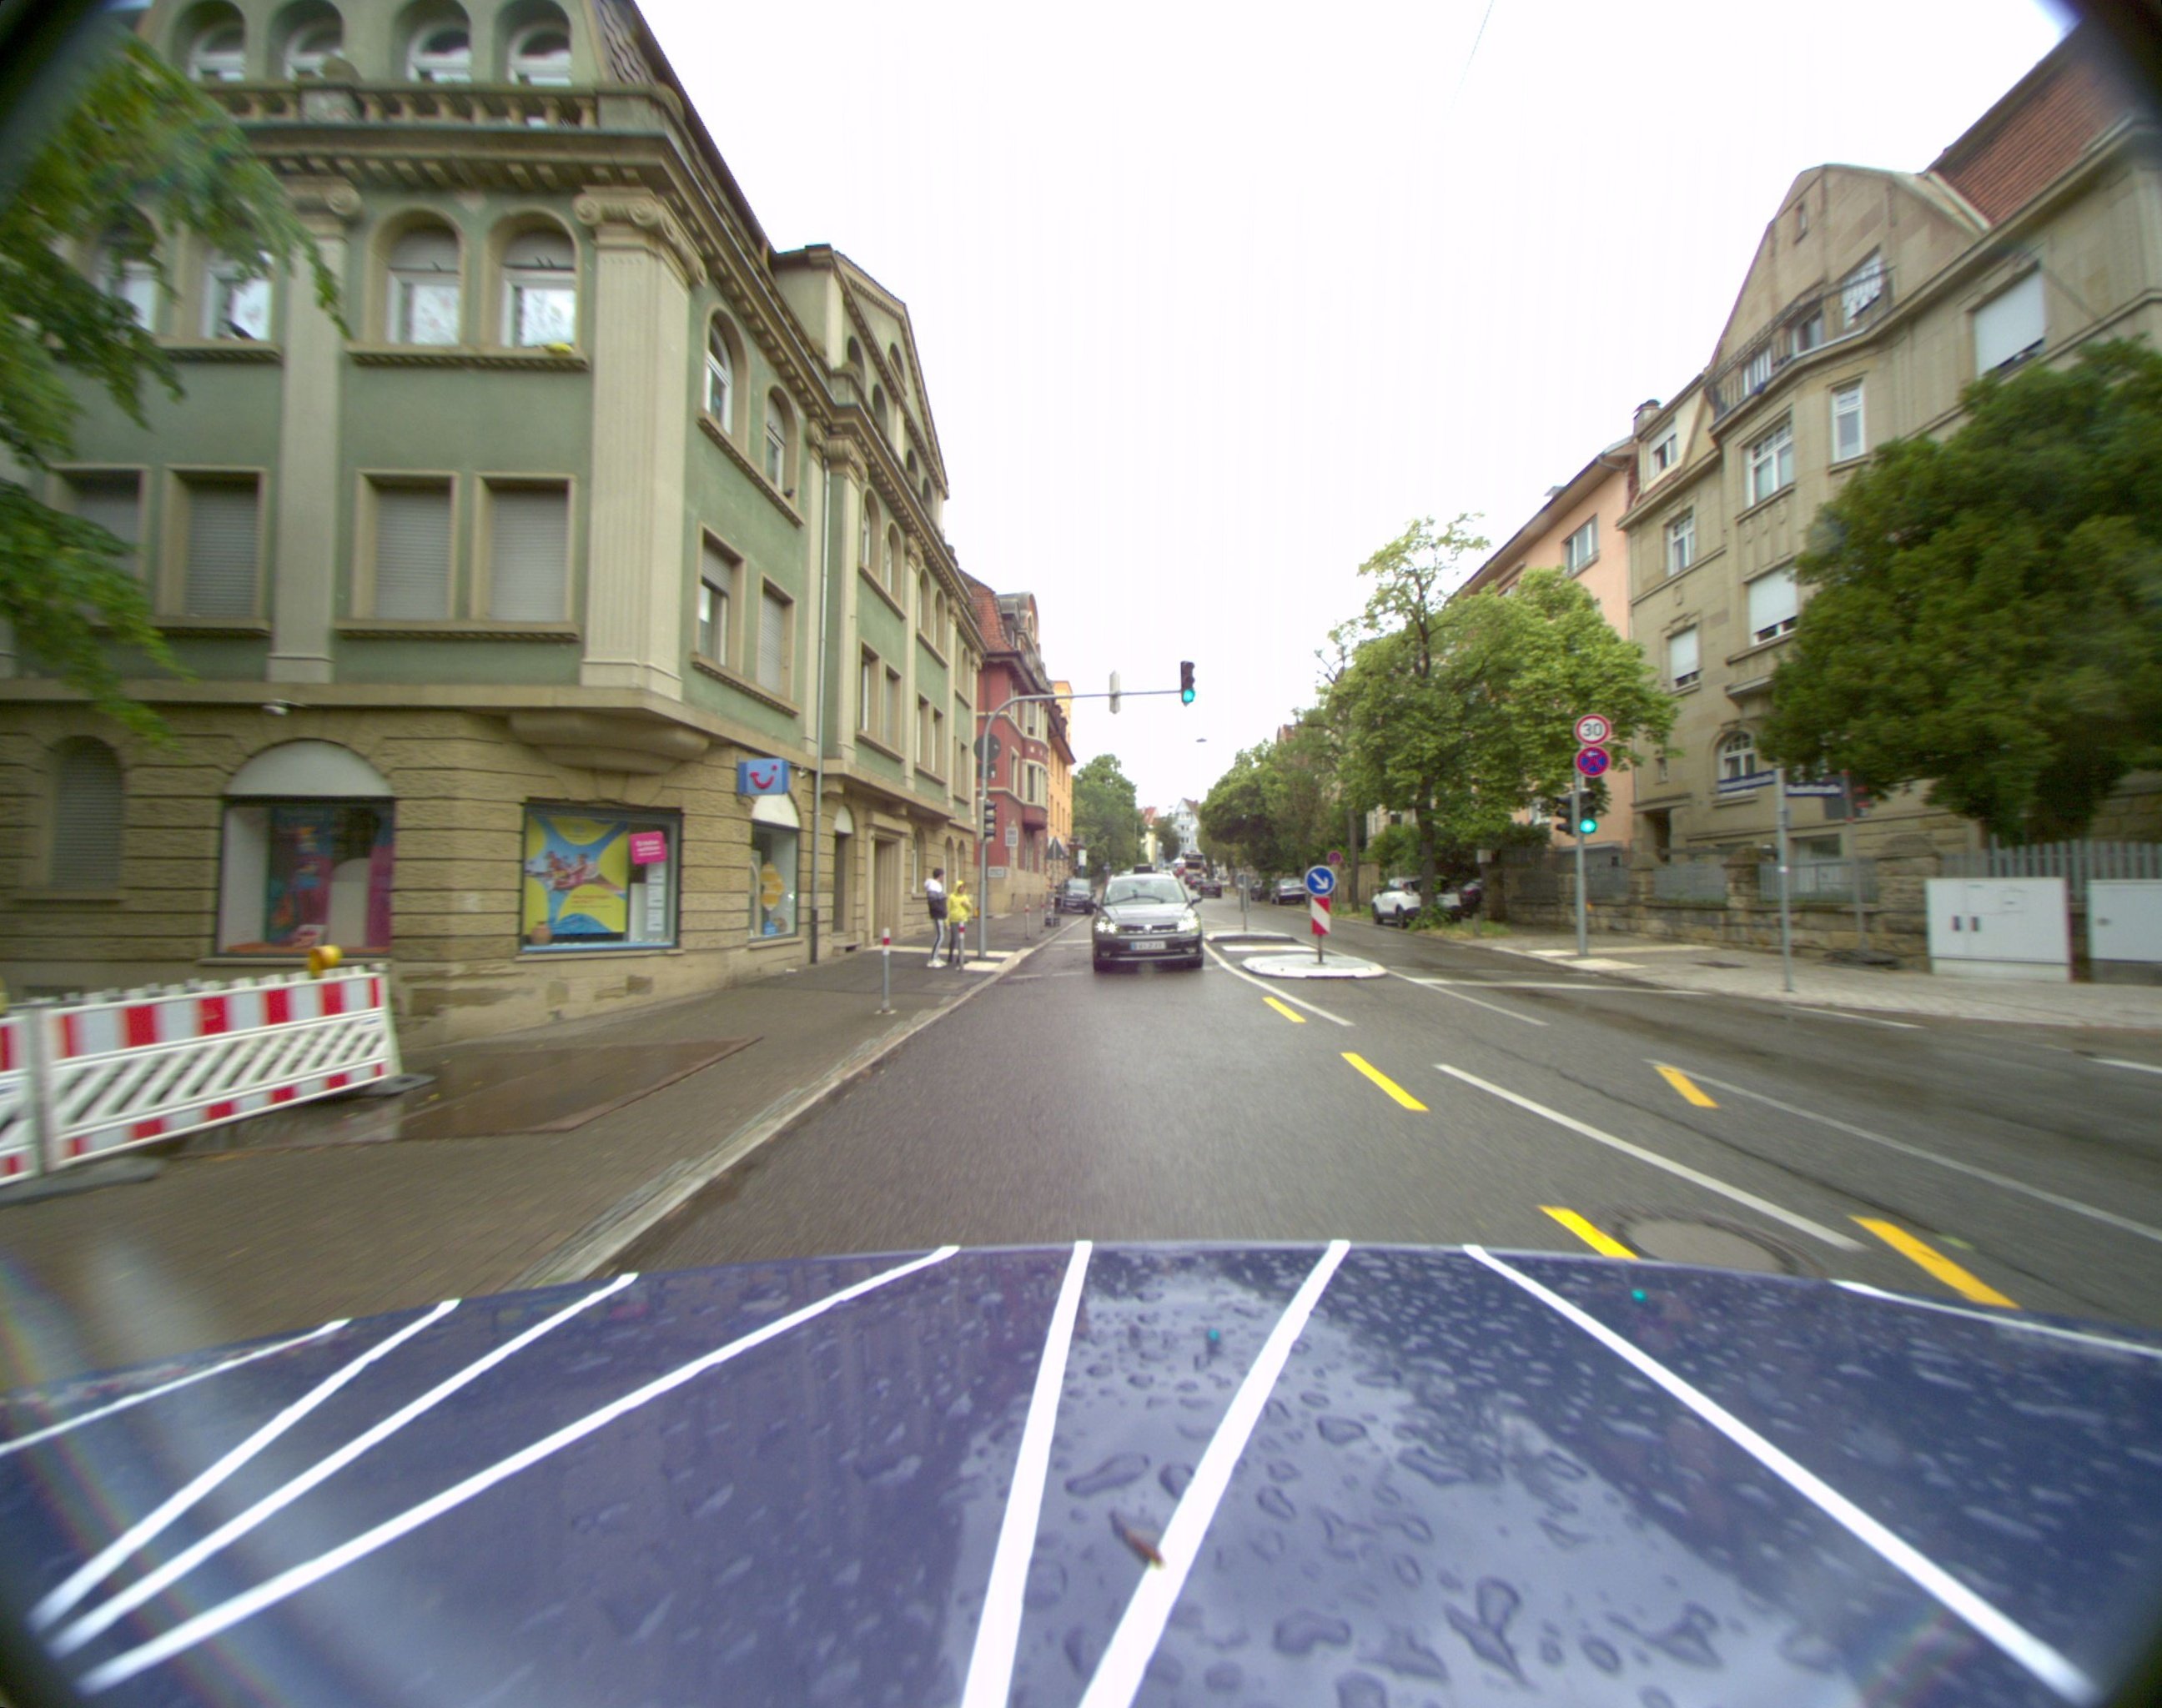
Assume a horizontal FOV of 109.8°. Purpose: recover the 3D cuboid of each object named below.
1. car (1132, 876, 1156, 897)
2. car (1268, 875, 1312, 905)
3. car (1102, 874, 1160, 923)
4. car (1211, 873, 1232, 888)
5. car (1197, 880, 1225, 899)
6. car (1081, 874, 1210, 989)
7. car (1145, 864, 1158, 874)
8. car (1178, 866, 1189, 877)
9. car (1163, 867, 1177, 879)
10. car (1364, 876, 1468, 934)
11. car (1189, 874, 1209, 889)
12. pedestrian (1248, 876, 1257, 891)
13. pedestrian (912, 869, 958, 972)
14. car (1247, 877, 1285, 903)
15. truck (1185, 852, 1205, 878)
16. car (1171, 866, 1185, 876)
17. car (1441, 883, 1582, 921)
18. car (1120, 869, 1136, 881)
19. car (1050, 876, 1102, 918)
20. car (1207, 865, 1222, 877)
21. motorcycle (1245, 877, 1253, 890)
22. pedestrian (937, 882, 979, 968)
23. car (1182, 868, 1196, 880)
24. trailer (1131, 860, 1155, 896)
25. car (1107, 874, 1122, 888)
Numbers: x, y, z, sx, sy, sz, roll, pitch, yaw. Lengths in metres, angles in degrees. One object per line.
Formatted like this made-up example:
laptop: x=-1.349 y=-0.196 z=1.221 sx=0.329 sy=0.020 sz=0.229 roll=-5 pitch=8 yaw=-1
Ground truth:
car: x=5.268 y=2.715 z=64.205 sx=1.925 sy=1.641 sz=4.136 roll=-2 pitch=-1 yaw=4
car: x=12.496 y=2.129 z=45.660 sx=1.745 sy=1.550 sz=4.304 roll=-2 pitch=-1 yaw=5
car: x=2.056 y=1.700 z=29.988 sx=1.924 sy=1.641 sz=4.489 roll=-2 pitch=-1 yaw=8
car: x=16.274 y=3.013 z=88.071 sx=1.745 sy=1.550 sz=4.303 roll=-2 pitch=-1 yaw=3
car: x=10.806 y=2.934 z=63.612 sx=1.819 sy=1.508 sz=4.551 roll=1 pitch=-2 yaw=4
car: x=1.164 y=1.218 z=13.766 sx=1.859 sy=1.641 sz=5.198 roll=-1 pitch=-1 yaw=5
car: x=12.828 y=2.693 z=137.682 sx=1.923 sy=1.552 sz=4.015 roll=3 pitch=0 yaw=9
car: x=17.101 y=2.952 z=126.542 sx=1.655 sy=1.698 sz=4.117 roll=2 pitch=1 yaw=11
car: x=11.808 y=2.492 z=100.469 sx=1.775 sy=1.508 sz=4.102 roll=0 pitch=0 yaw=8
car: x=10.601 y=1.549 z=24.380 sx=1.745 sy=1.550 sz=4.304 roll=-2 pitch=-1 yaw=5
car: x=13.094 y=3.049 z=84.551 sx=1.776 sy=1.508 sz=4.593 roll=-2 pitch=-1 yaw=5
pedestrian: x=16.460 y=2.857 z=72.892 sx=0.767 sy=1.424 sz=0.650 roll=0 pitch=0 yaw=7
pedestrian: x=-2.597 y=1.171 z=13.602 sx=0.665 sy=1.763 sz=0.720 roll=2 pitch=-1 yaw=-4
car: x=13.028 y=2.496 z=53.752 sx=1.745 sy=1.550 sz=4.303 roll=-3 pitch=-1 yaw=2
truck: x=17.238 y=1.698 z=115.532 sx=2.653 sy=3.831 sz=9.313 roll=1 pitch=-1 yaw=7
car: x=14.746 y=2.549 z=115.118 sx=1.714 sy=1.471 sz=4.118 roll=2 pitch=0 yaw=11
car: x=15.362 y=1.711 z=27.304 sx=3.996 sy=1.318 sz=1.838 roll=0 pitch=-1 yaw=4
car: x=6.628 y=2.969 z=106.799 sx=1.744 sy=1.454 sz=4.887 roll=3 pitch=0 yaw=8
car: x=-0.143 y=1.919 z=35.284 sx=1.880 sy=1.620 sz=4.700 roll=2 pitch=0 yaw=5
car: x=19.889 y=2.504 z=113.185 sx=2.000 sy=1.586 sz=3.830 roll=-4 pitch=0 yaw=10
motorcycle: x=17.256 y=3.037 z=78.176 sx=0.656 sy=1.230 sz=1.764 roll=0 pitch=0 yaw=8
pedestrian: x=-2.340 y=1.336 z=14.441 sx=0.599 sy=1.575 sz=0.664 roll=2 pitch=-1 yaw=-22
car: x=14.180 y=2.670 z=100.098 sx=1.775 sy=1.459 sz=4.751 roll=0 pitch=0 yaw=8
trailer: x=5.453 y=2.109 z=67.375 sx=1.966 sy=3.023 sz=2.366 roll=-2 pitch=0 yaw=4
car: x=3.868 y=3.126 z=87.794 sx=1.613 sy=1.493 sz=3.960 roll=1 pitch=0 yaw=5
